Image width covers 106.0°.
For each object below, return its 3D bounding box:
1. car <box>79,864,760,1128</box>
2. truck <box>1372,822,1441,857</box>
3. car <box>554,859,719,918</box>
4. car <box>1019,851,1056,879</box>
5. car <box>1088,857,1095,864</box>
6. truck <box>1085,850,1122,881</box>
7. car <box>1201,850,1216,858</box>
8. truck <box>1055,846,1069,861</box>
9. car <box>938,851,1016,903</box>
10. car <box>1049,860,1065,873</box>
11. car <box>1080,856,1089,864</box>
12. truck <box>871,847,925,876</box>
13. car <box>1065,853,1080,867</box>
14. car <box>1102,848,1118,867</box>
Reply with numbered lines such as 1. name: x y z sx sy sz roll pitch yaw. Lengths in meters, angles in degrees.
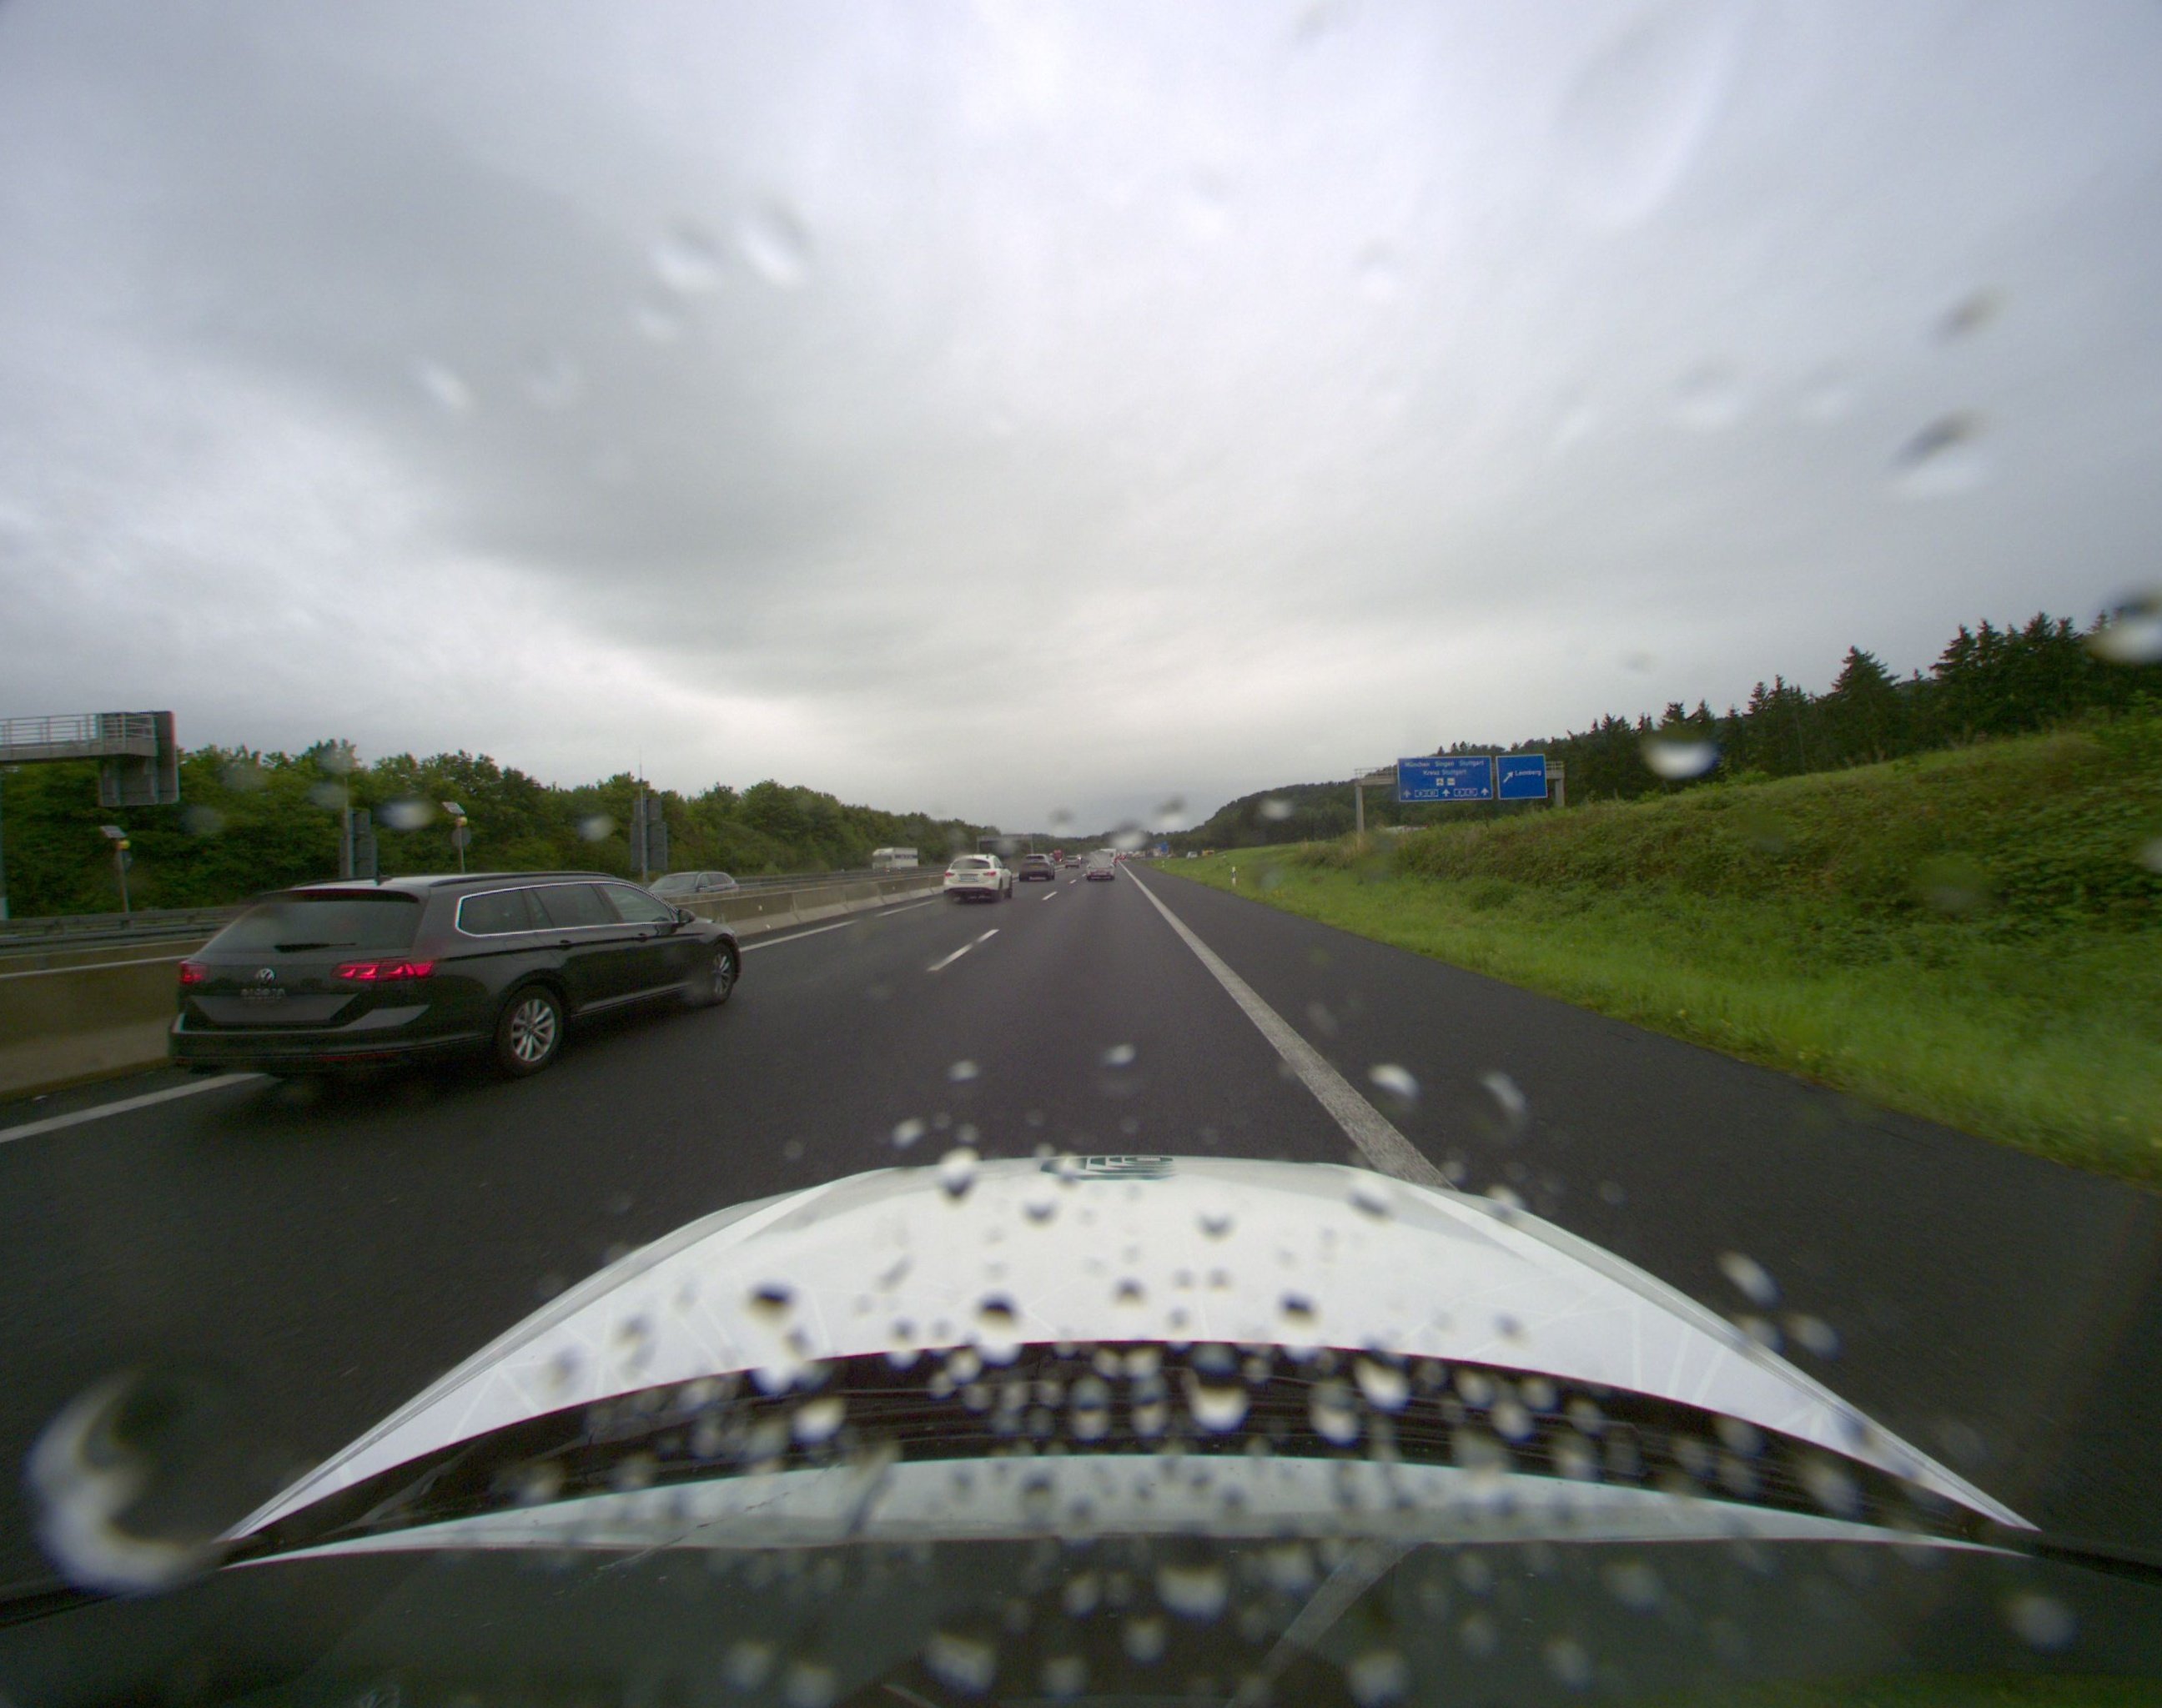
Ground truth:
1. car: -4.760 0.847 7.073 1.780 1.459 4.806 -1 0 3
2. truck: 36.771 -1.561 92.501 3.821 3.659 8.252 0 0 -7
3. car: -11.991 0.866 22.375 1.848 1.391 4.448 -2 0 3
4. car: -2.808 0.702 53.337 1.968 1.703 4.804 -1 0 2
5. car: 2.484 1.605 197.123 1.639 1.574 4.002 0 0 2
6. truck: 1.464 0.717 52.790 2.234 1.839 6.586 -1 0 1
7. car: 24.379 -0.010 155.781 1.989 1.552 3.996 0 0 -3
8. truck: -5.886 -0.155 256.025 3.386 4.733 10.492 -1 0 3
9. car: -3.608 0.766 29.060 2.041 1.670 4.542 -1 0 1
10. car: -3.244 1.678 111.366 1.812 1.662 4.019 -2 0 2
11. car: 0.712 1.161 156.437 1.639 1.574 4.002 0 0 2
12. truck: -27.118 1.058 122.052 3.165 3.808 17.147 -2 0 3
13. car: -1.135 0.785 108.672 1.732 1.794 4.002 -1 0 2
14. car: 4.285 0.553 120.377 2.322 2.725 6.543 0 0 2
